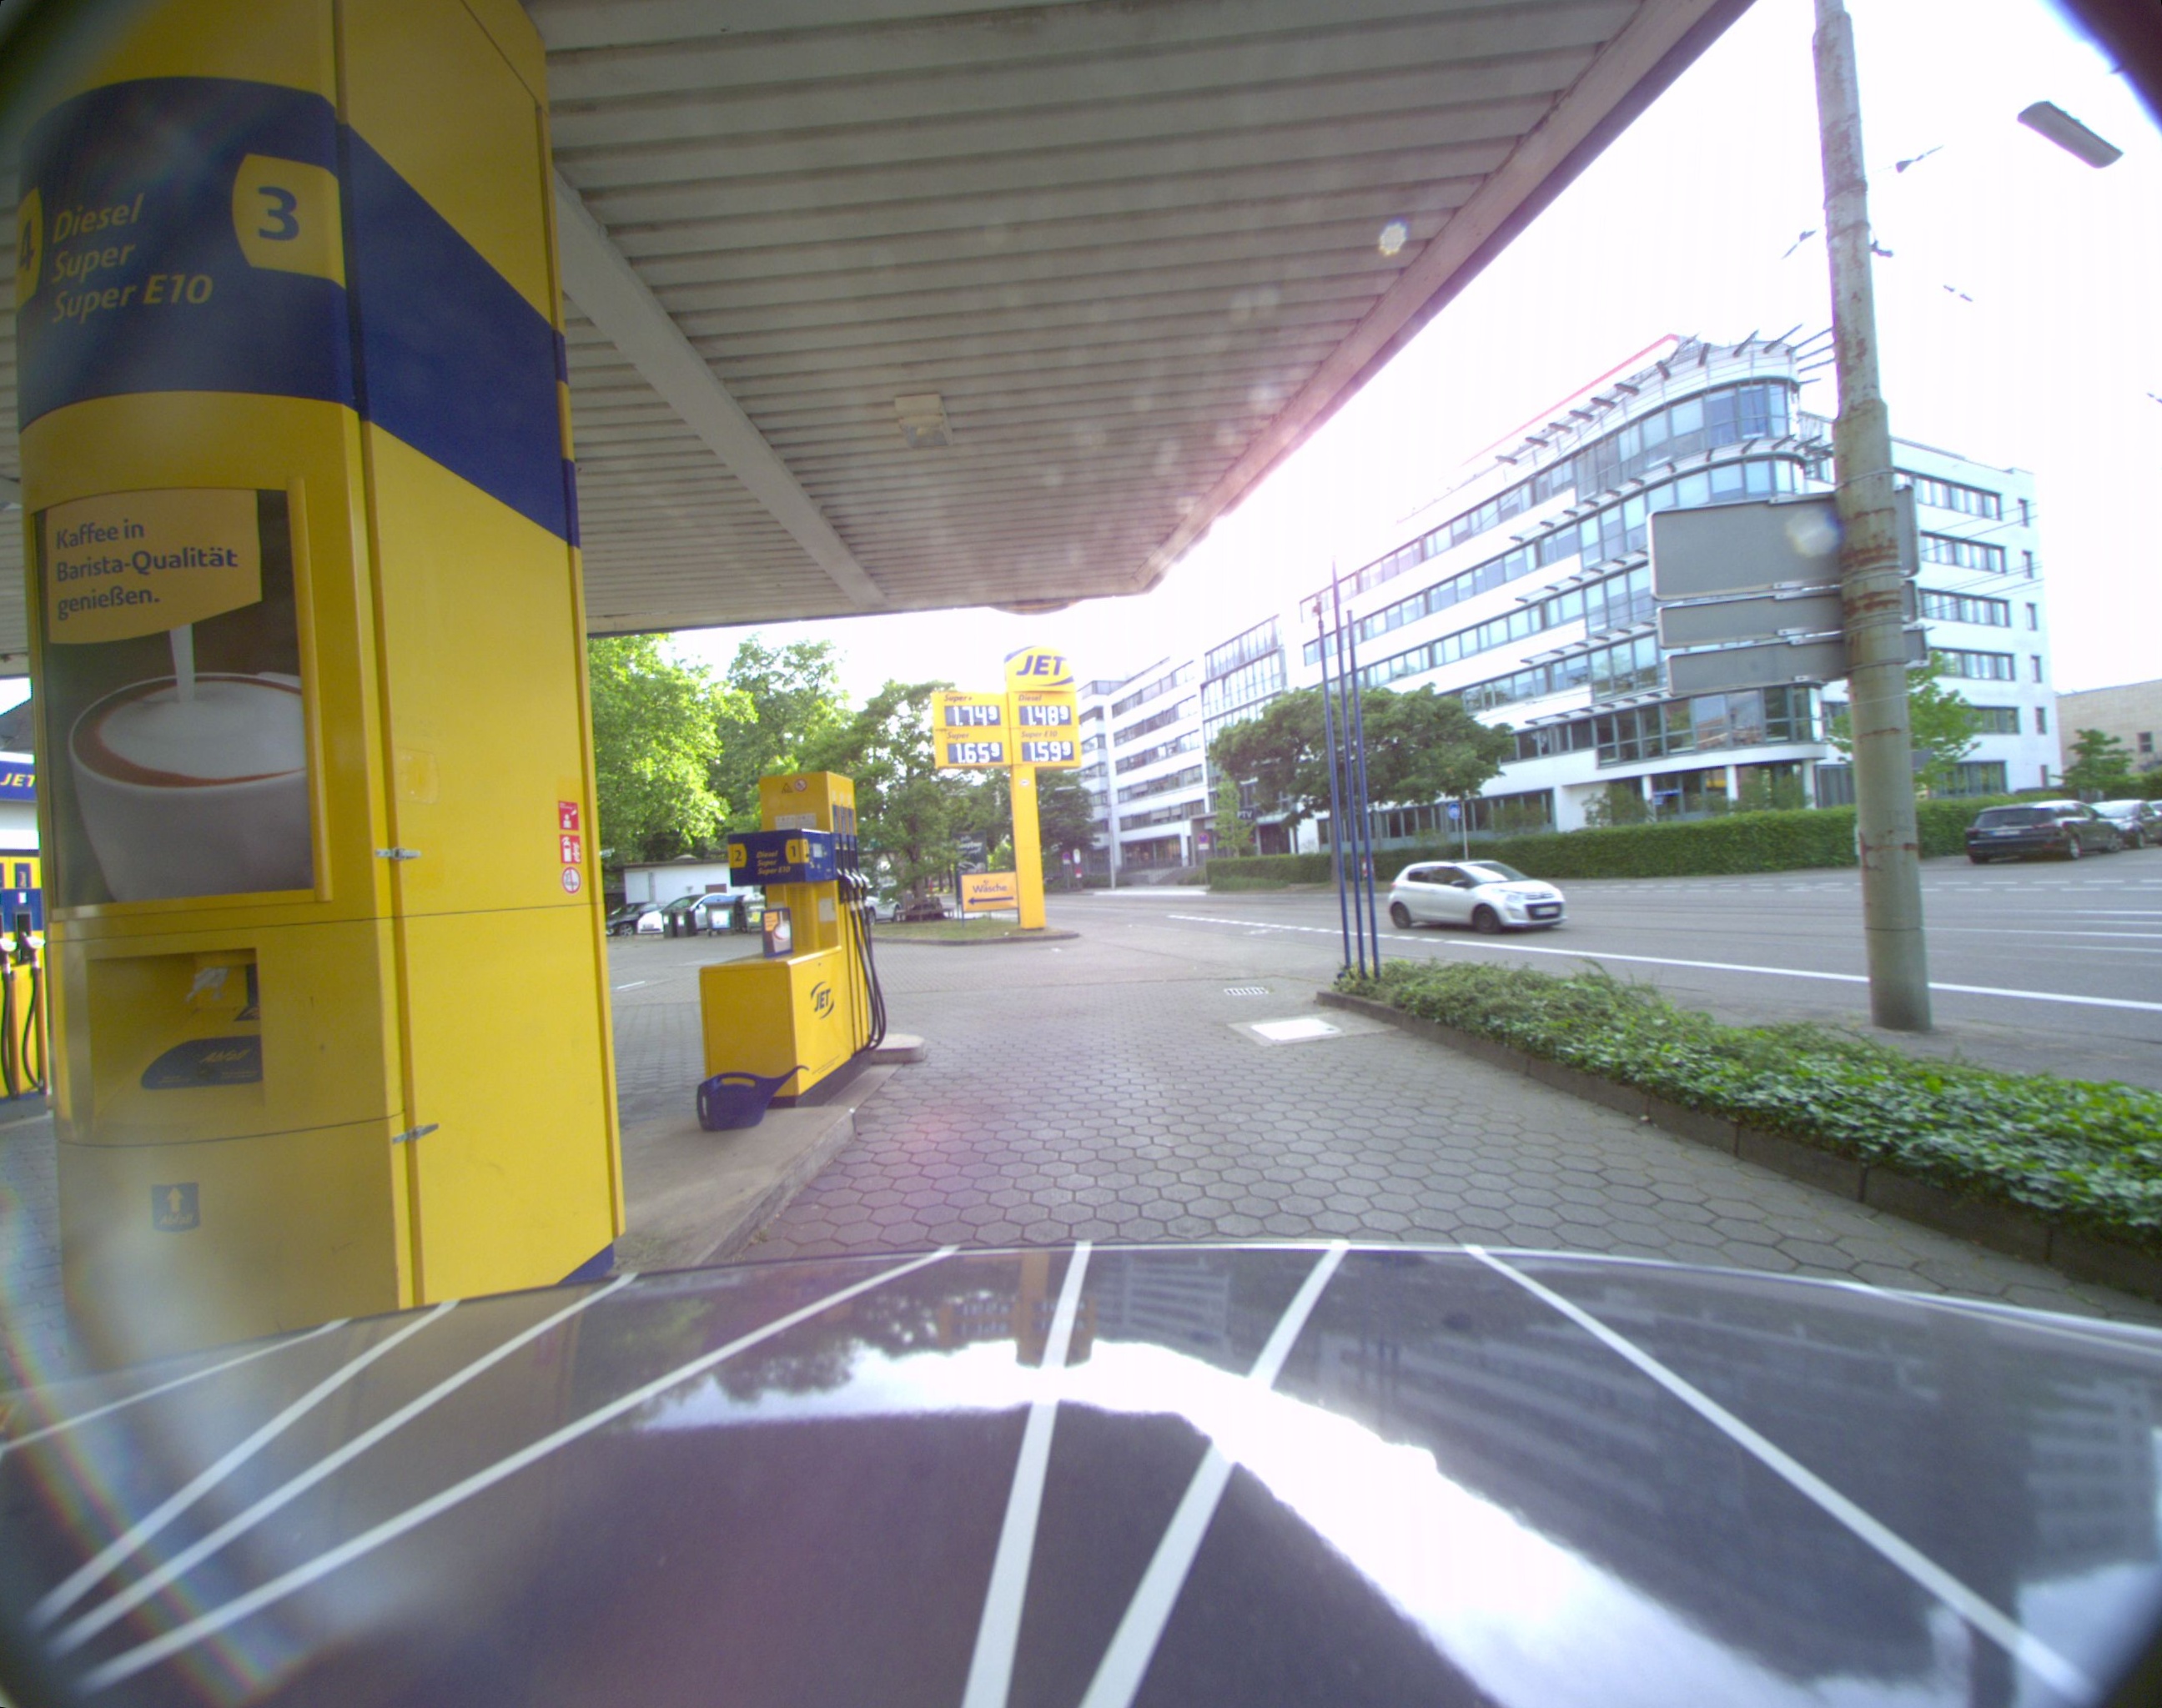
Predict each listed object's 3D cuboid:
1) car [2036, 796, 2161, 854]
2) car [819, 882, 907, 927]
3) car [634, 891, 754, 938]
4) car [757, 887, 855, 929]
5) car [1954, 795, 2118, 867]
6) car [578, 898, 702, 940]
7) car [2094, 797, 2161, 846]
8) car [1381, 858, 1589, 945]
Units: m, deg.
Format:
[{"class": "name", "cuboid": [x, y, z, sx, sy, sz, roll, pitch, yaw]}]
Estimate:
[{"class": "car", "cuboid": [32.547, -0.935, 24.096, 4.296, 1.530, 1.945, -4, -1, -27]}, {"class": "car", "cuboid": [-8.636, 1.999, 30.503, 1.772, 1.591, 4.398, -4, -4, 6]}, {"class": "car", "cuboid": [-15.292, 2.361, 30.314, 1.771, 1.591, 4.398, -2, -1, 14]}, {"class": "car", "cuboid": [-11.654, 2.264, 32.493, 1.771, 1.591, 4.400, -4, -4, 13]}, {"class": "car", "cuboid": [27.276, -0.659, 21.693, 4.296, 1.681, 2.010, -4, -1, -27]}, {"class": "car", "cuboid": [-17.794, 2.586, 30.908, 1.771, 1.367, 4.398, -2, -1, 14]}, {"class": "car", "cuboid": [37.129, -1.190, 26.149, 4.296, 1.509, 1.945, -4, -1, -27]}, {"class": "car", "cuboid": [8.104, 0.921, 15.591, 1.691, 1.424, 3.423, -5, 0, -19]}]
